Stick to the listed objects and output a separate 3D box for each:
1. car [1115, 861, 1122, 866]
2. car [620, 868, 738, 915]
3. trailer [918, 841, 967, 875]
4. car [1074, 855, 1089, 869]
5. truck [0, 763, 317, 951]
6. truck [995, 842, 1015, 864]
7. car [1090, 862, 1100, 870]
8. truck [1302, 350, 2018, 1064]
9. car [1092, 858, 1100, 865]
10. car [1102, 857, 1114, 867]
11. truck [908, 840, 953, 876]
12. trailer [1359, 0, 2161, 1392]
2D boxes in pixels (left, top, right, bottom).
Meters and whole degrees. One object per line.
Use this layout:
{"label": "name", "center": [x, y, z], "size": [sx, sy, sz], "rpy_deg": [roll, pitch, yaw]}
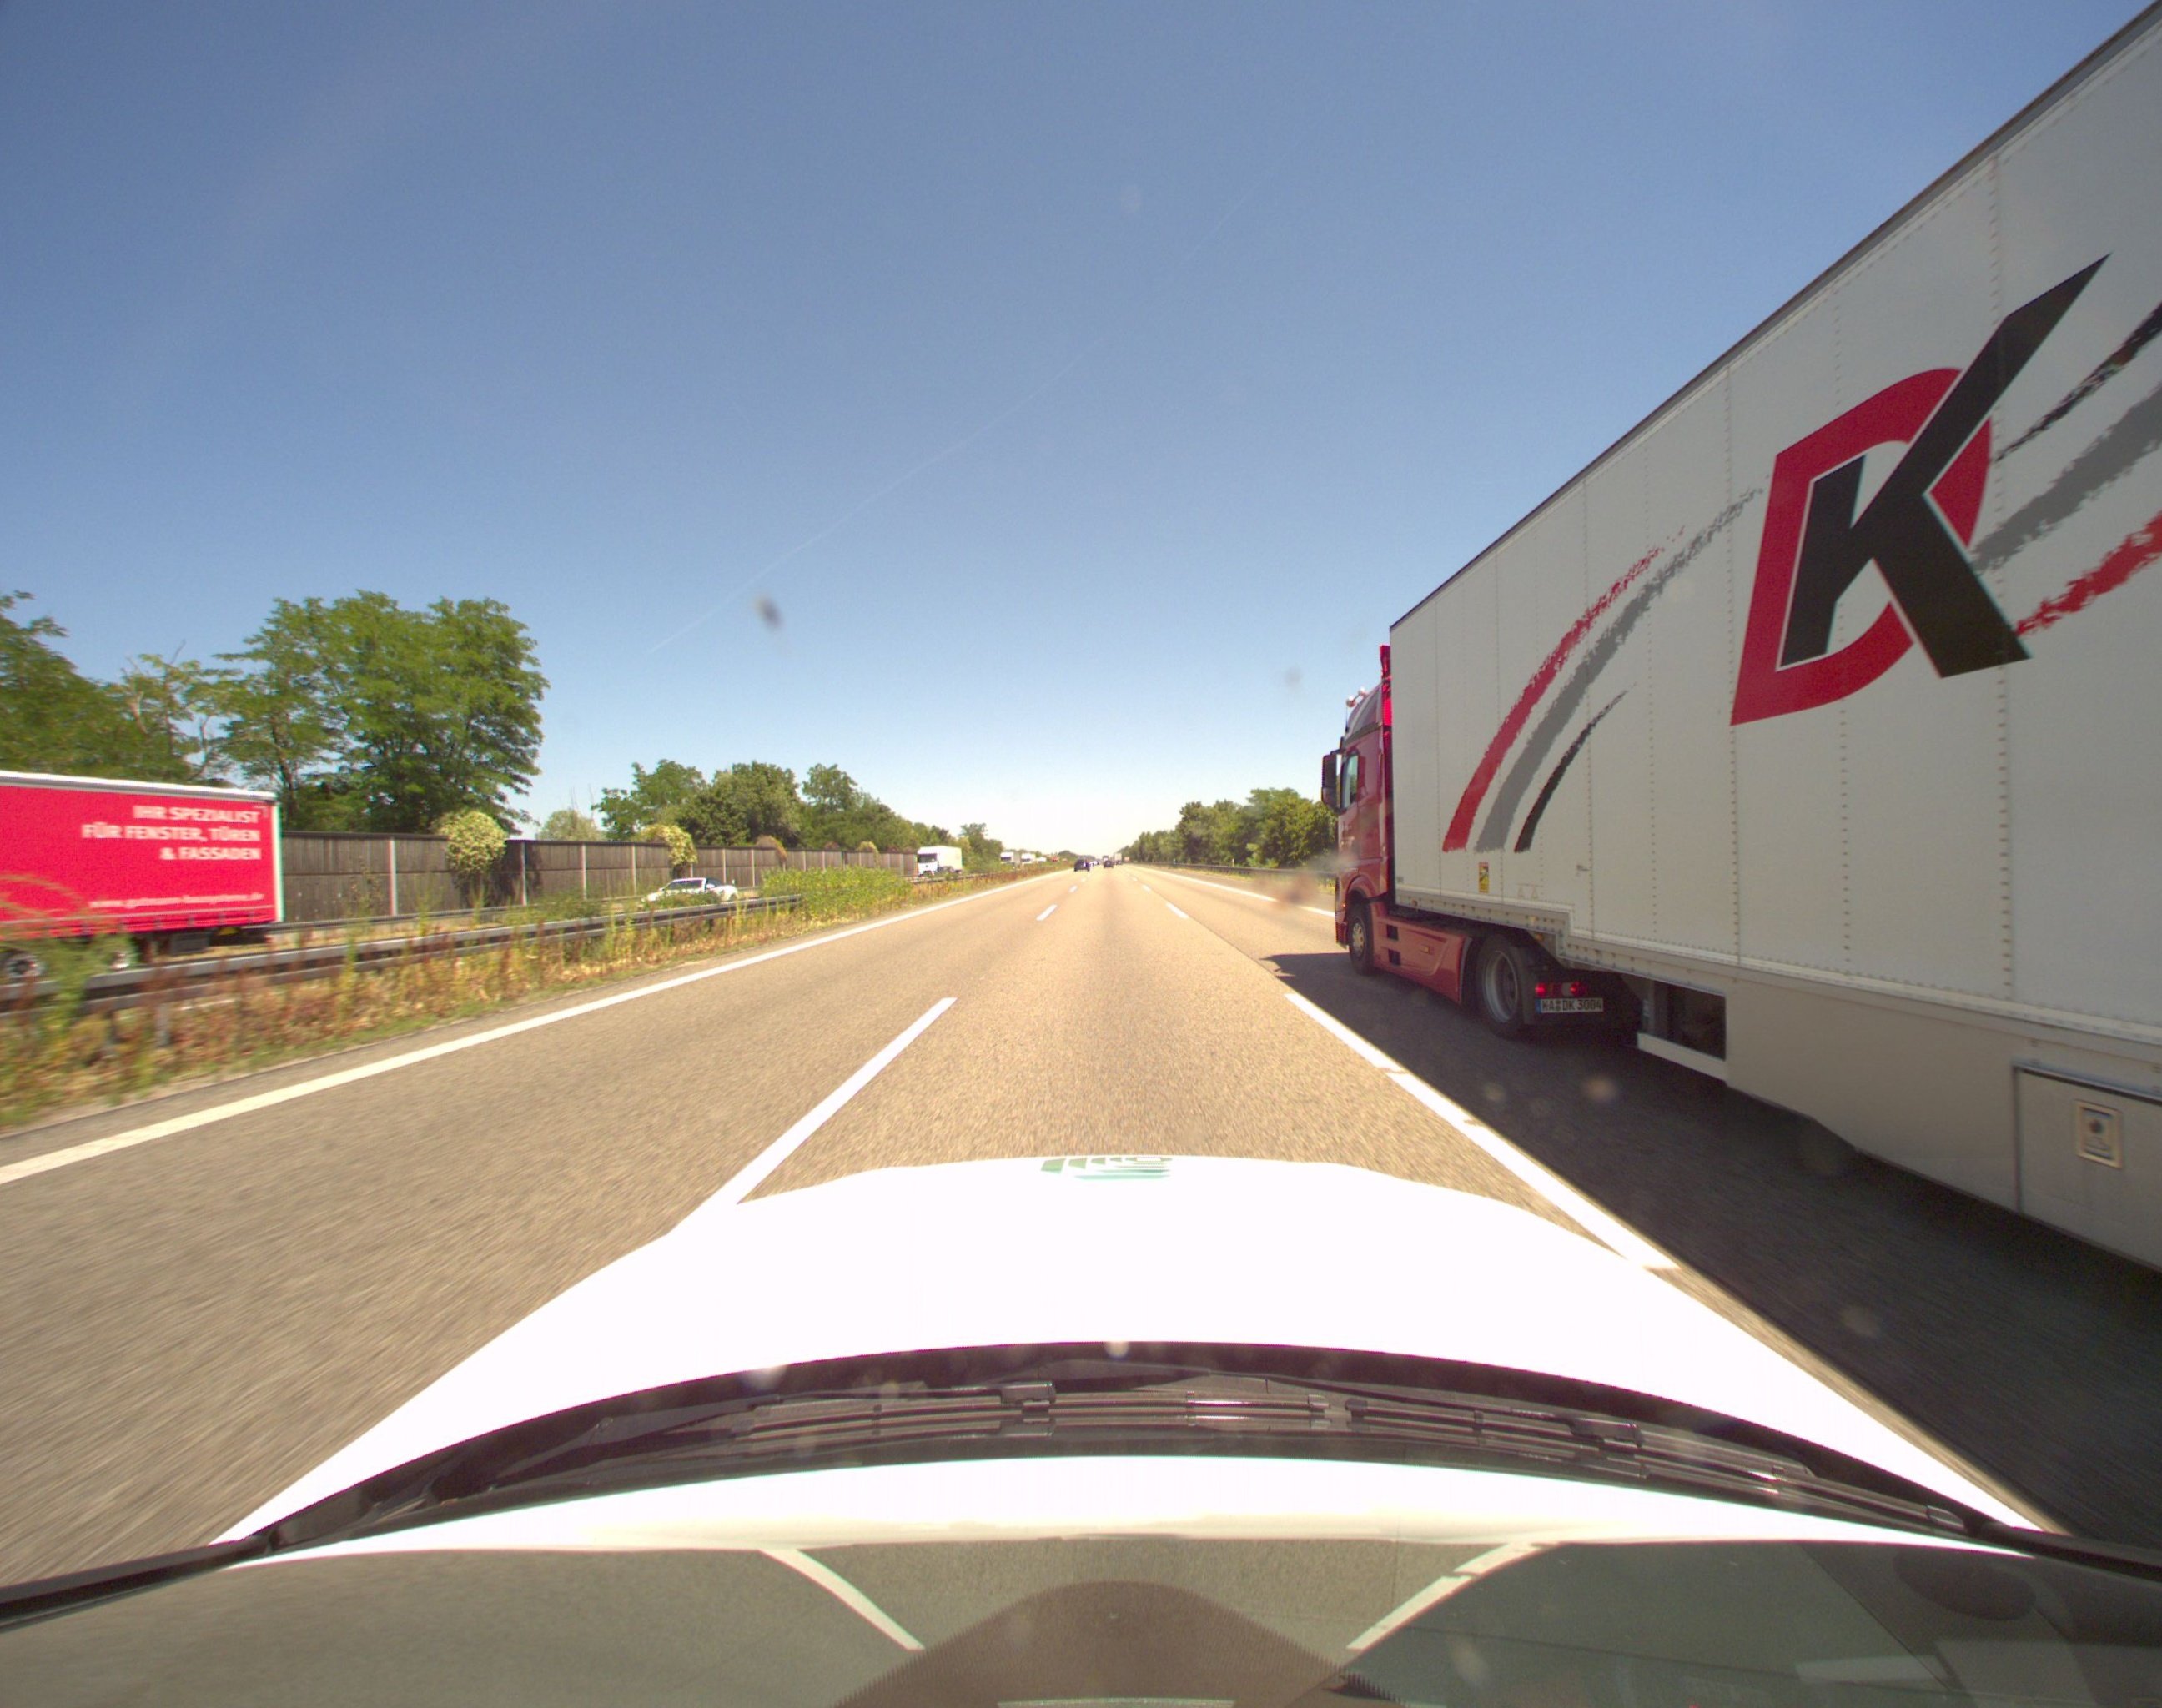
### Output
{"label": "car", "center": [11.543, 2.858, 251.502], "size": [2.120, 1.584, 4.306], "rpy_deg": [-2, -1, 2]}
{"label": "car", "center": [-14.054, 1.266, 28.802], "size": [1.771, 1.412, 4.501], "rpy_deg": [-2, 0, 2]}
{"label": "trailer", "center": [-17.965, 0.528, 106.431], "size": [3.597, 4.103, 12.802], "rpy_deg": [-3, 0, 2]}
{"label": "car", "center": [0.043, 1.020, 106.654], "size": [1.874, 1.792, 4.000], "rpy_deg": [-2, 0, 0]}
{"label": "truck", "center": [-20.750, 0.099, 11.754], "size": [2.826, 3.342, 17.014], "rpy_deg": [-1, 0, 2]}
{"label": "truck", "center": [-16.288, -0.167, 175.665], "size": [3.205, 4.440, 7.874], "rpy_deg": [-1, -1, 2]}
{"label": "car", "center": [3.031, 2.501, 177.181], "size": [2.120, 1.645, 4.306], "rpy_deg": [-2, -1, 2]}
{"label": "truck", "center": [4.955, -1.028, 9.144], "size": [3.221, 4.889, 6.976], "rpy_deg": [-1, 0, 2]}
{"label": "car", "center": [4.258, 2.151, 234.256], "size": [2.120, 1.645, 4.306], "rpy_deg": [-2, -1, 2]}
{"label": "car", "center": [4.667, 1.309, 140.033], "size": [1.896, 1.584, 4.306], "rpy_deg": [-2, -1, 2]}
{"label": "truck", "center": [-18.286, 0.520, 99.423], "size": [3.568, 4.103, 7.842], "rpy_deg": [-3, 0, 2]}
{"label": "trailer", "center": [4.665, -0.923, 2.561], "size": [3.256, 4.837, 14.037], "rpy_deg": [-1, 0, 2]}
